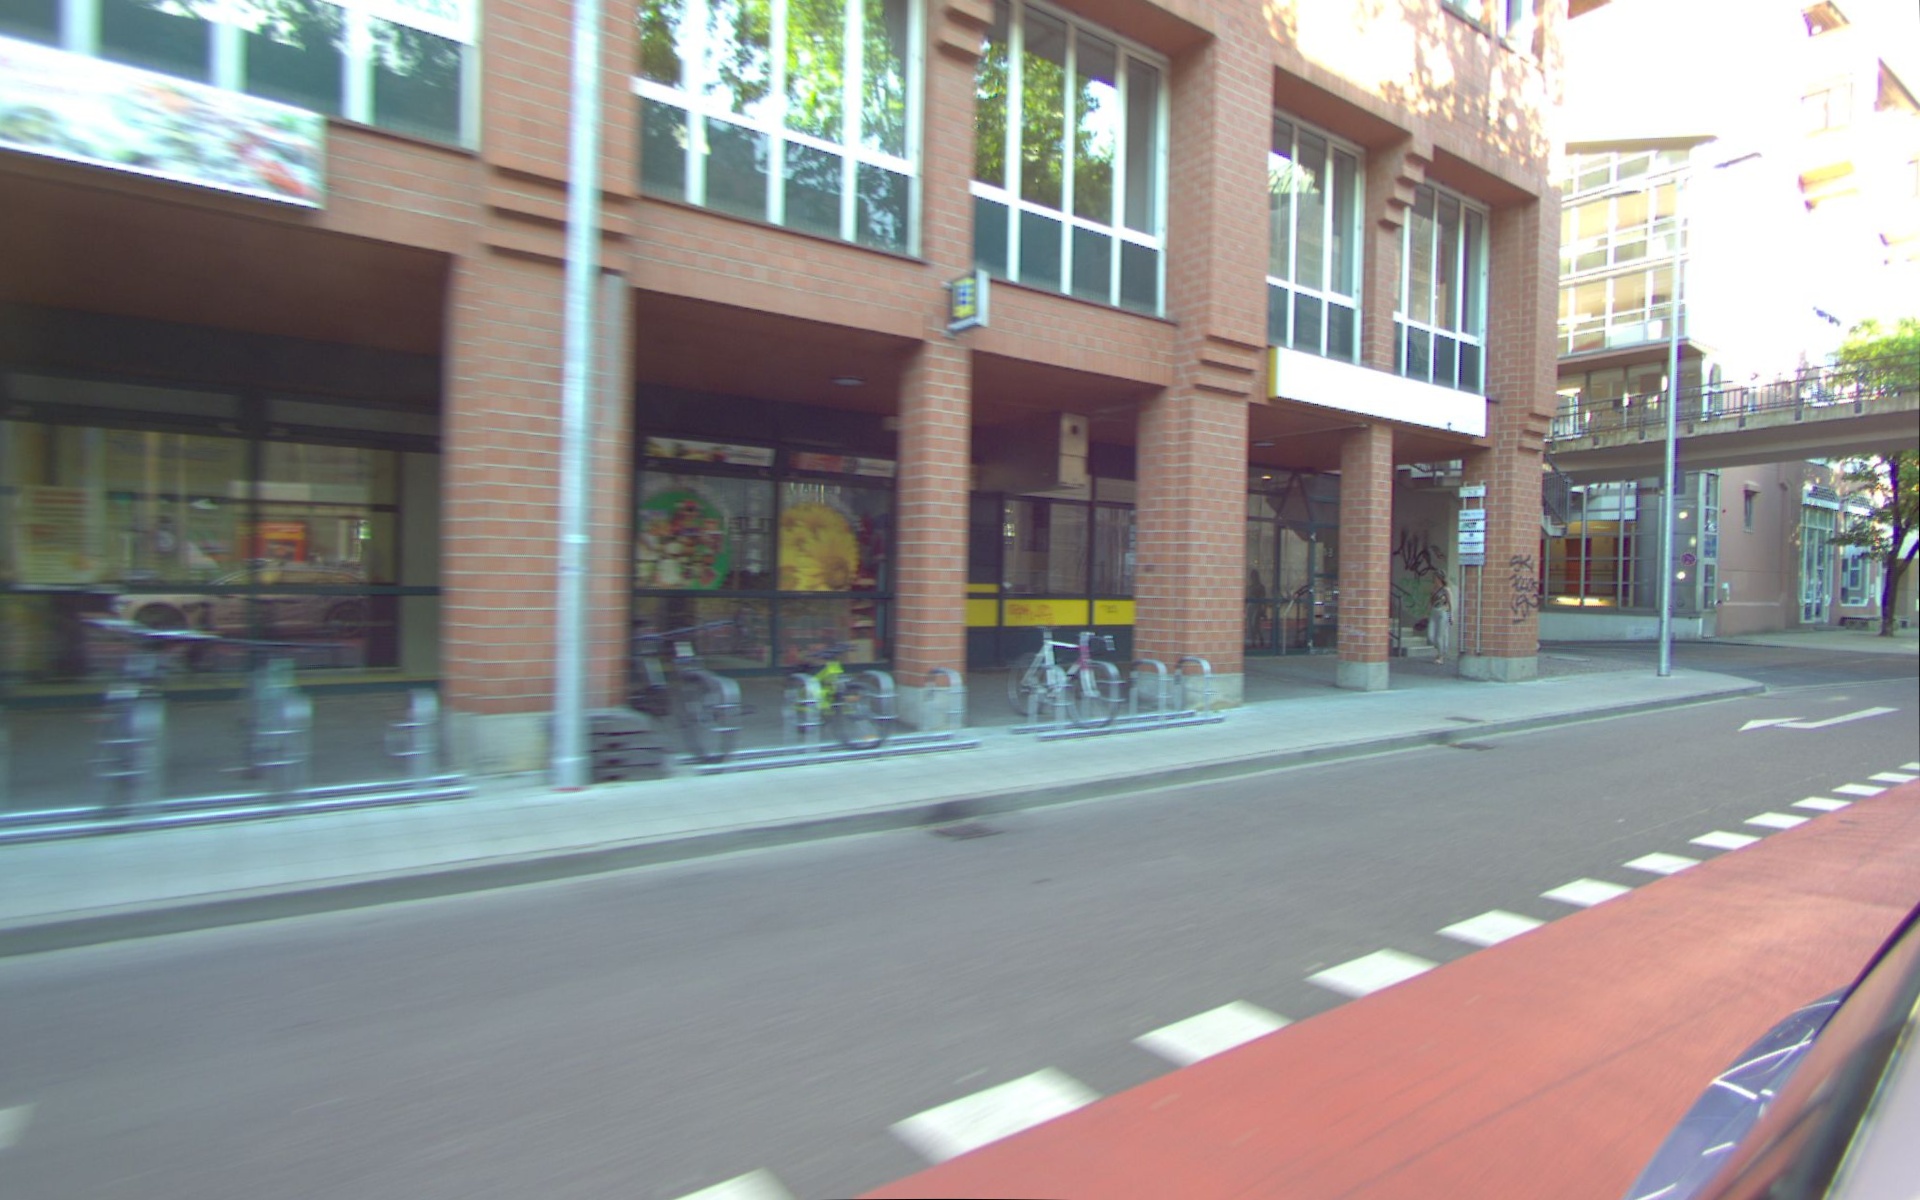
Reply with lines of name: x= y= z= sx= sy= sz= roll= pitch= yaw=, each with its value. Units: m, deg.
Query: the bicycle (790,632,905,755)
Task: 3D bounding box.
bicycle: x=-1.004 y=0.770 z=8.765 sx=0.416 sy=0.851 sz=1.339 roll=0 pitch=3 yaw=-33

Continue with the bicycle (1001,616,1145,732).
bicycle: x=1.125 y=0.717 z=10.403 sx=0.544 sy=0.966 sz=1.618 roll=0 pitch=4 yaw=-33

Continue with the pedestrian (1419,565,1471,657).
pedestrian: x=8.902 y=0.190 z=18.566 sx=0.763 sy=1.654 sz=0.570 roll=0 pitch=0 yaw=-36

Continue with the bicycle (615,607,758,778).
bicycle: x=-2.223 y=0.656 z=8.032 sx=0.561 sy=1.069 sz=1.941 roll=0 pitch=3 yaw=-31

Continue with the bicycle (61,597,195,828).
bicycle: x=-4.972 y=0.577 z=6.124 sx=0.466 sy=1.133 sz=1.898 roll=0 pitch=2 yaw=-35

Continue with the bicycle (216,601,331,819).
bicycle: x=-4.402 y=0.606 z=6.491 sx=0.540 sy=1.133 sz=1.898 roll=0 pitch=2 yaw=-35
